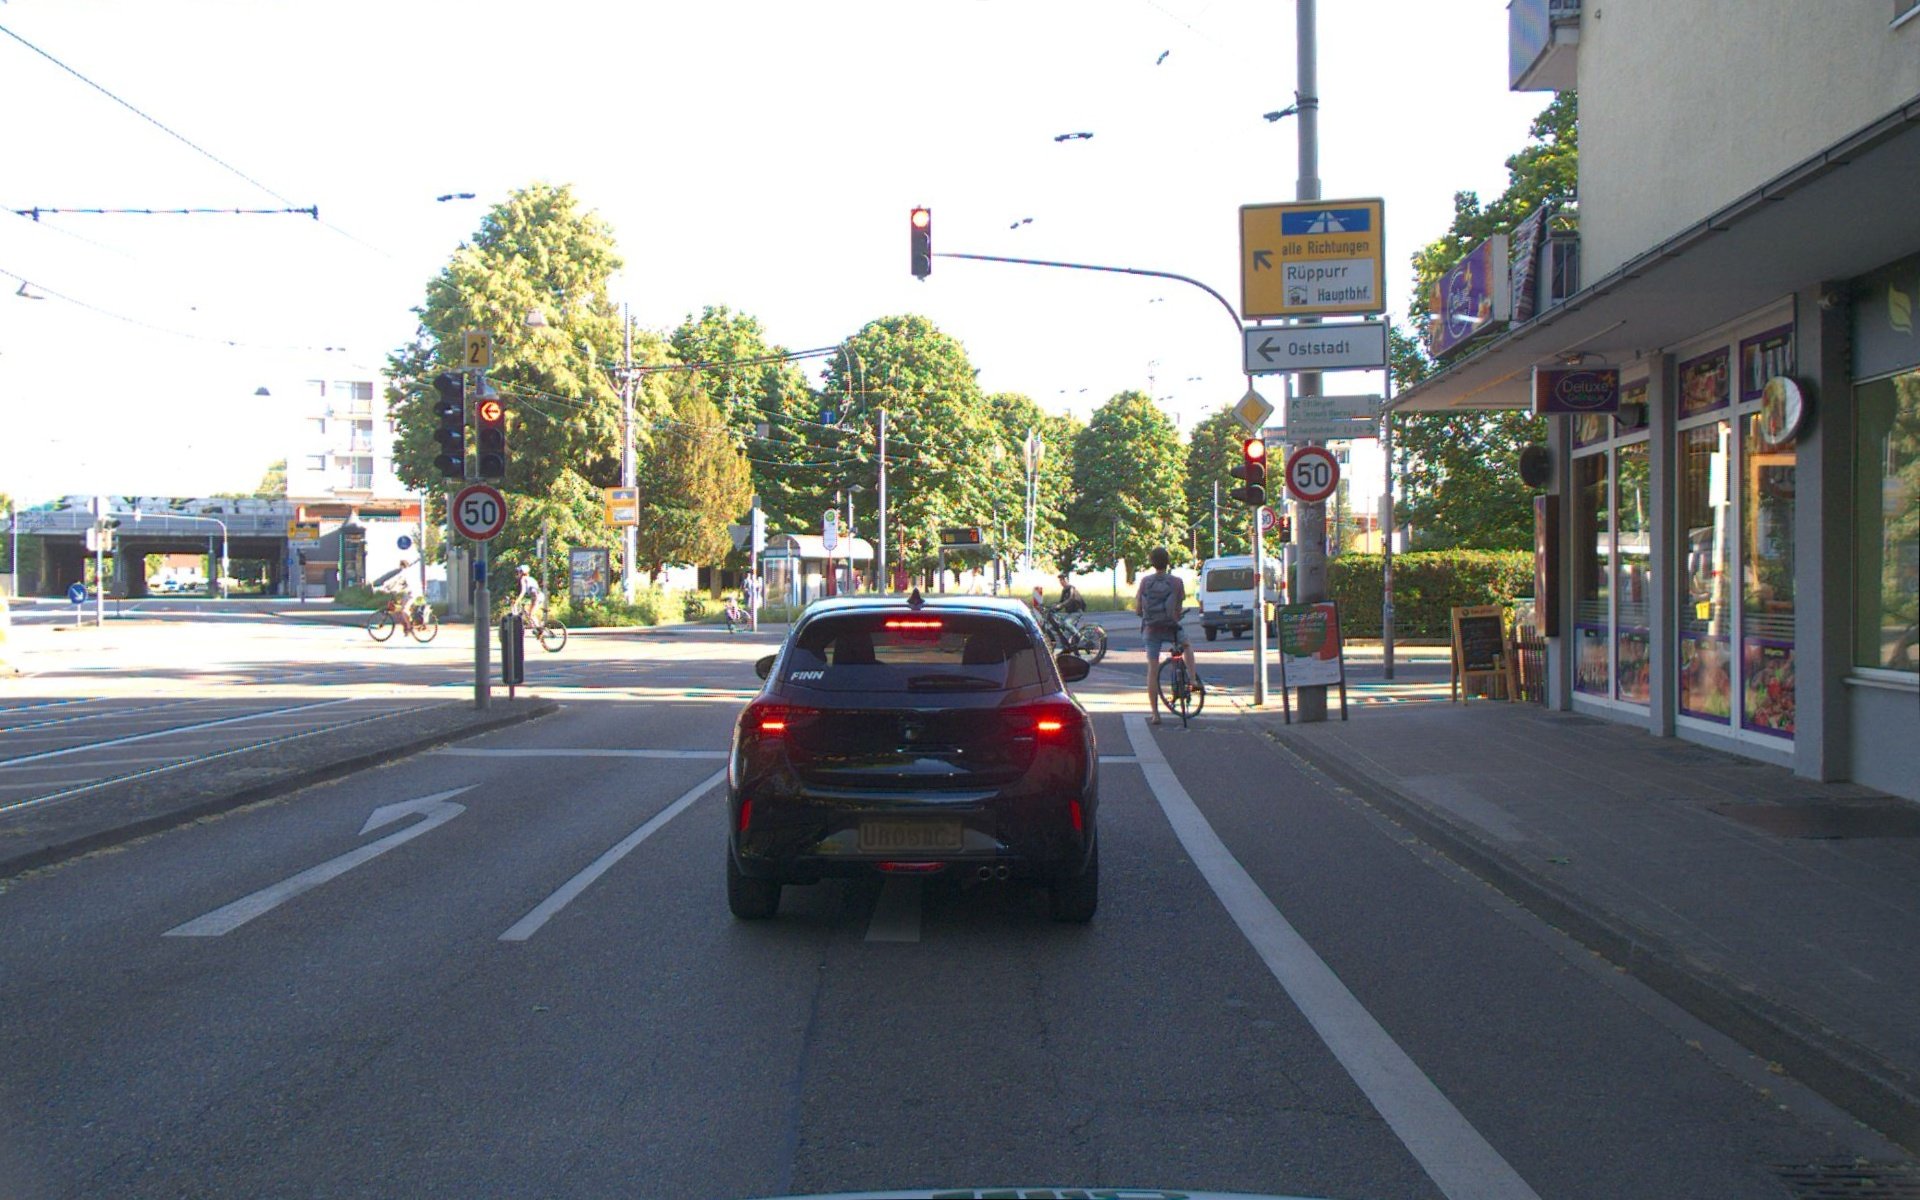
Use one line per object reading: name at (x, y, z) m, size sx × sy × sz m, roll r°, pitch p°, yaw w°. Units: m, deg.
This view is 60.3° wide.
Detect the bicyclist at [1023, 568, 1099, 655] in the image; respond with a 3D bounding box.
bicyclist at (1.824, 0.194, 29.967) m, size 1.098 × 1.547 × 0.915 m, roll -1°, pitch 0°, yaw -24°

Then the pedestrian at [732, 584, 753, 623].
pedestrian at (-9.270, 0.142, 70.509) m, size 0.735 × 1.658 × 0.598 m, roll 1°, pitch 0°, yaw 6°

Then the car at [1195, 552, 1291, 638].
car at (8.020, -0.174, 46.577) m, size 2.020 × 2.288 × 4.890 m, roll 0°, pitch 1°, yaw 17°

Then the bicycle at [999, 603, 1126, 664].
bicycle at (1.858, 0.594, 29.992) m, size 2.162 × 1.051 × 0.828 m, roll -1°, pitch 1°, yaw -24°

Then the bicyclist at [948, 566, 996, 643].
bicyclist at (0.258, 0.089, 35.535) m, size 0.843 × 1.623 × 0.649 m, roll 0°, pitch 0°, yaw 21°

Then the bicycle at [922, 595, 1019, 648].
bicycle at (0.222, 0.448, 35.555) m, size 2.012 × 1.113 × 0.592 m, roll 0°, pitch 0°, yaw 21°

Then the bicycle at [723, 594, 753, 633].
bicycle at (-6.209, 0.372, 46.373) m, size 0.593 × 1.049 × 1.982 m, roll 0°, pitch 1°, yaw -1°

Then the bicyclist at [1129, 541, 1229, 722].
bicyclist at (2.328, 0.323, 17.695) m, size 0.922 × 1.883 × 0.864 m, roll -1°, pitch 0°, yaw -1°

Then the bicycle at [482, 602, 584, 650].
bicycle at (-9.126, 0.545, 35.365) m, size 2.014 × 1.001 × 0.673 m, roll 0°, pitch 0°, yaw 10°

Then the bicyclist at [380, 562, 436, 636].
bicyclist at (-13.044, -0.025, 39.101) m, size 0.907 × 1.737 × 0.876 m, roll 0°, pitch 0°, yaw 11°

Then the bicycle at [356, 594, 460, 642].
bicycle at (-13.051, 0.429, 39.119) m, size 2.244 × 1.103 × 0.801 m, roll 0°, pitch 0°, yaw 12°

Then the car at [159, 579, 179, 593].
car at (-101.386, -1.804, 211.969) m, size 2.186 × 1.855 × 4.112 m, roll -1°, pitch 1°, yaw -26°

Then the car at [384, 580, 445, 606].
car at (-39.091, -0.506, 118.546) m, size 4.116 × 1.836 × 1.725 m, roll -1°, pitch 1°, yaw -22°

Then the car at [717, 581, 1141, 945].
car at (-0.144, 0.641, 8.749) m, size 1.692 × 1.454 × 4.186 m, roll 1°, pitch 0°, yaw -1°

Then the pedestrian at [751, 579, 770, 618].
pedestrian at (-8.514, -0.053, 70.620) m, size 0.623 × 1.658 × 0.572 m, roll 1°, pitch 0°, yaw 6°

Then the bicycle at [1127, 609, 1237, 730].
bicycle at (2.356, 0.709, 17.804) m, size 0.842 × 1.173 × 2.171 m, roll -1°, pitch 1°, yaw -1°

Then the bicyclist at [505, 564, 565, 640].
bicyclist at (-9.079, 0.039, 35.340) m, size 0.988 × 1.598 × 0.800 m, roll 0°, pitch 0°, yaw 10°
